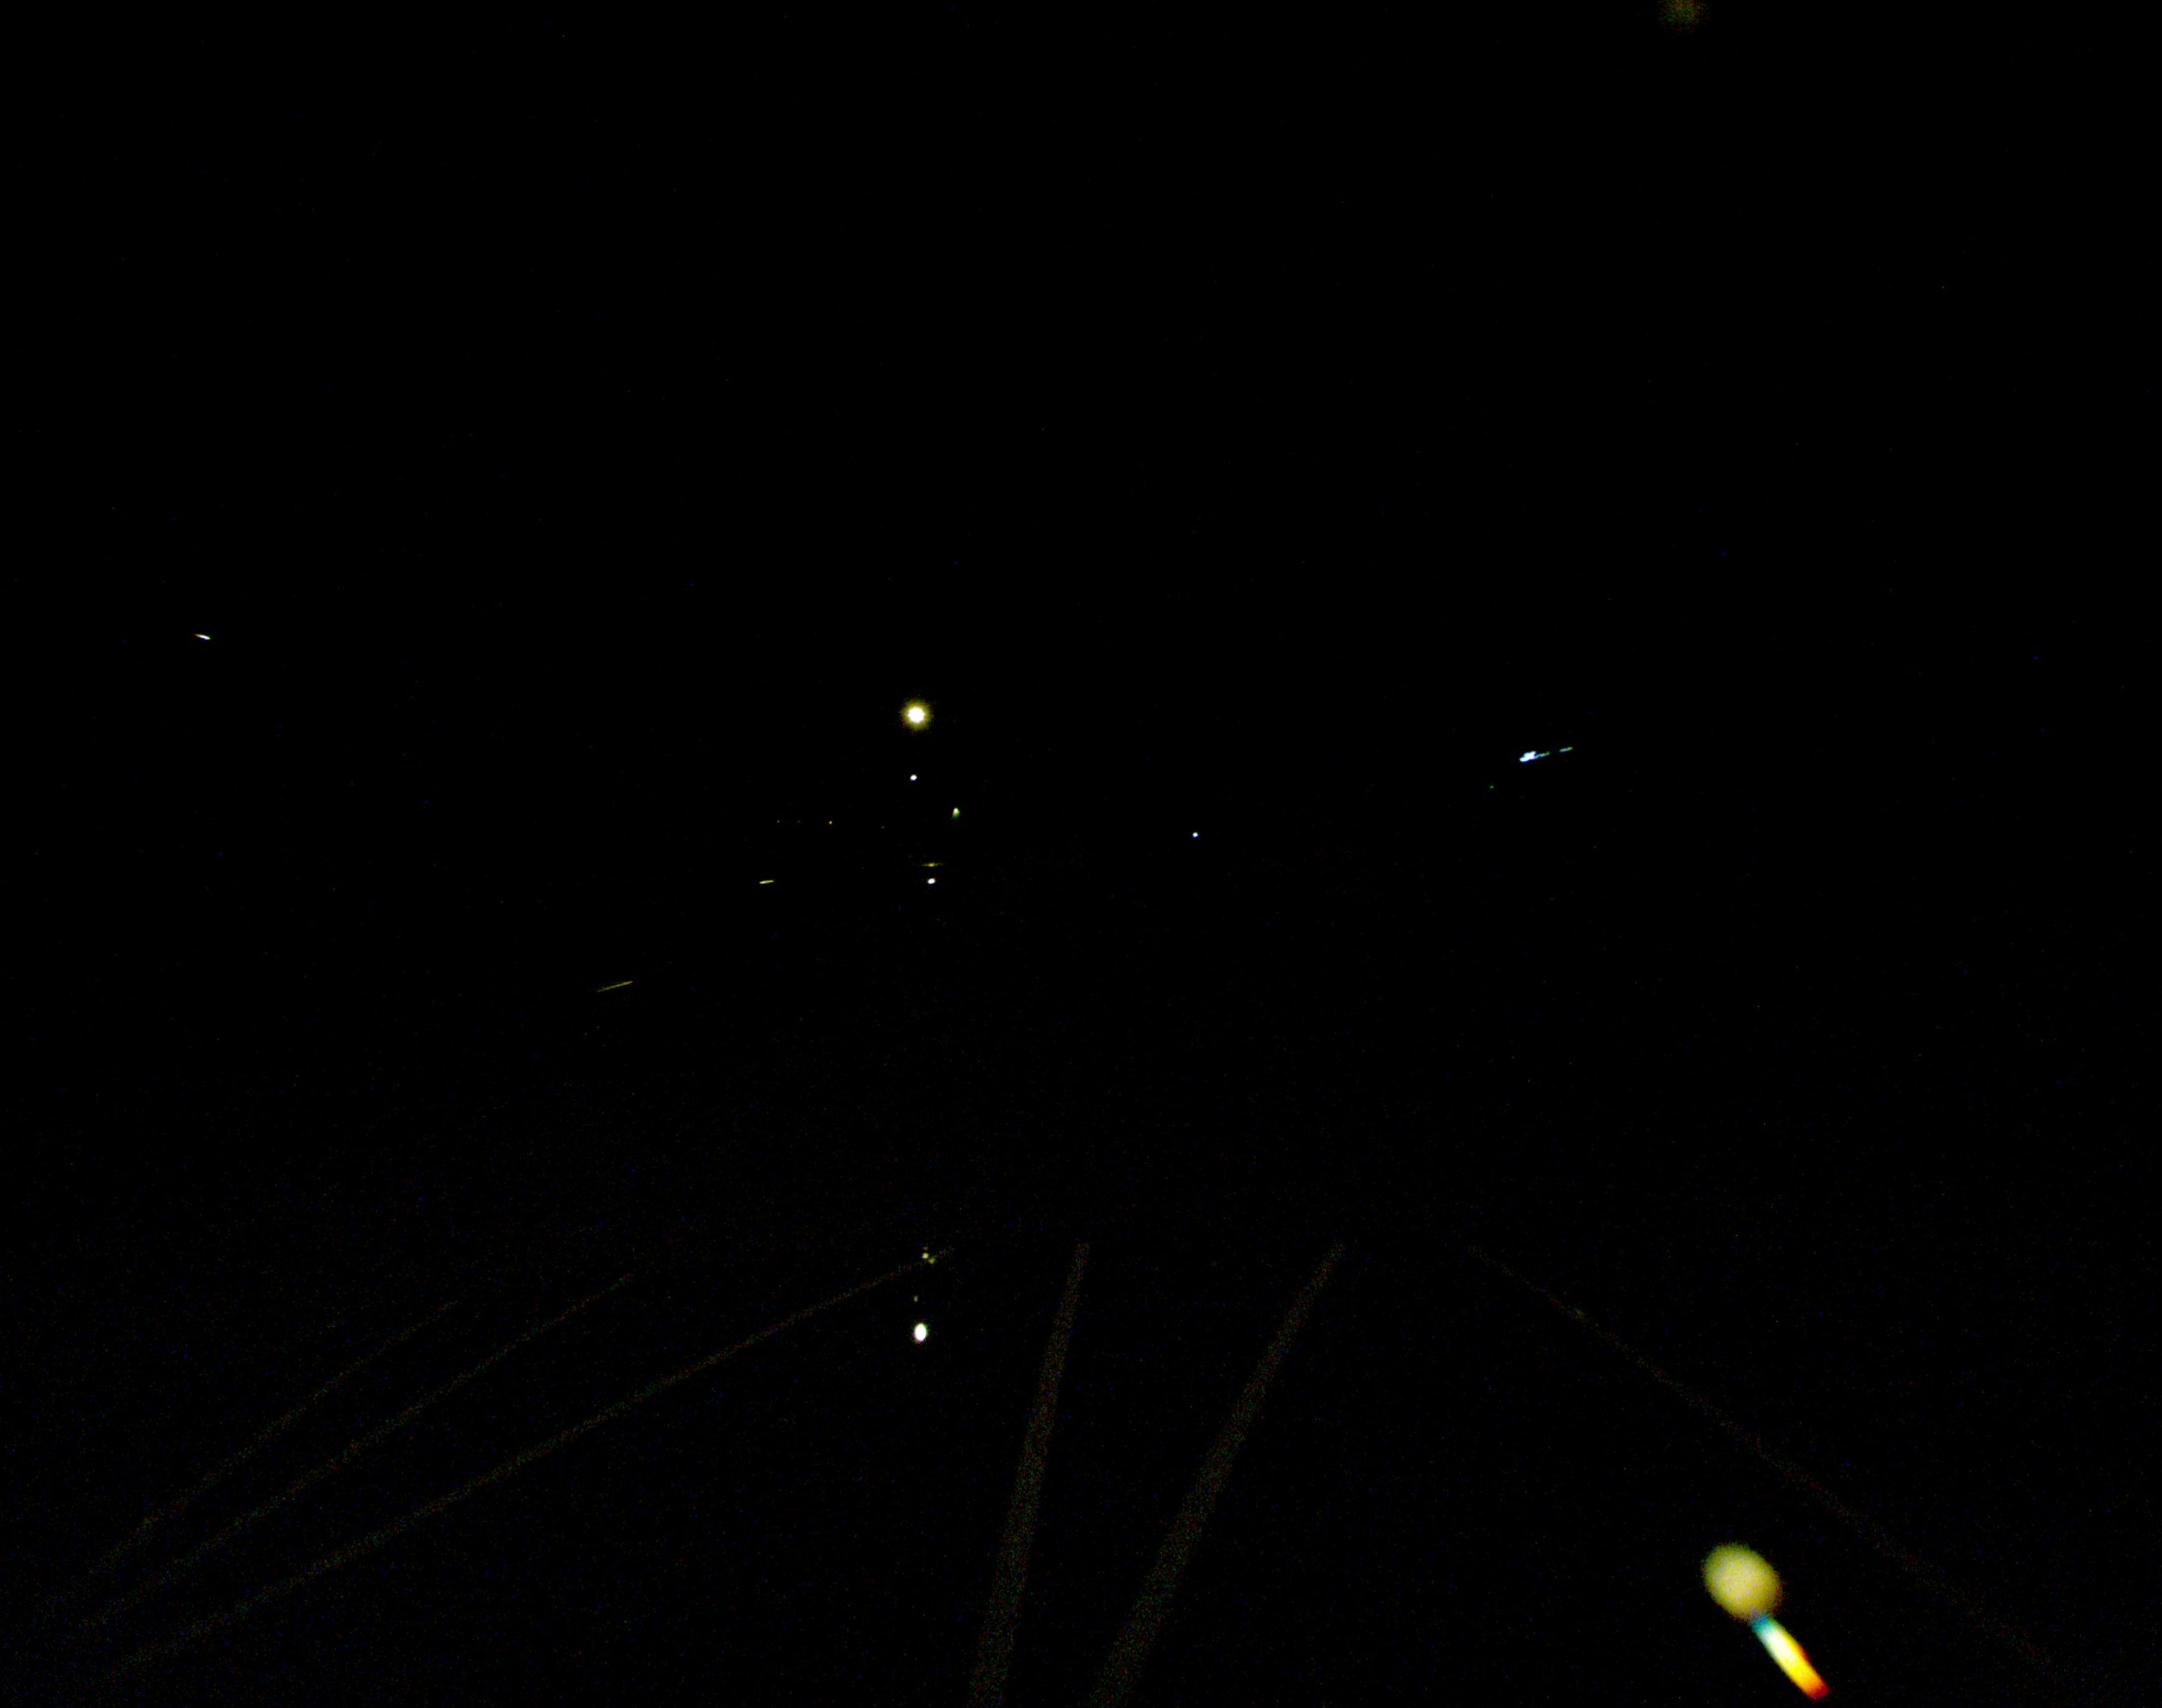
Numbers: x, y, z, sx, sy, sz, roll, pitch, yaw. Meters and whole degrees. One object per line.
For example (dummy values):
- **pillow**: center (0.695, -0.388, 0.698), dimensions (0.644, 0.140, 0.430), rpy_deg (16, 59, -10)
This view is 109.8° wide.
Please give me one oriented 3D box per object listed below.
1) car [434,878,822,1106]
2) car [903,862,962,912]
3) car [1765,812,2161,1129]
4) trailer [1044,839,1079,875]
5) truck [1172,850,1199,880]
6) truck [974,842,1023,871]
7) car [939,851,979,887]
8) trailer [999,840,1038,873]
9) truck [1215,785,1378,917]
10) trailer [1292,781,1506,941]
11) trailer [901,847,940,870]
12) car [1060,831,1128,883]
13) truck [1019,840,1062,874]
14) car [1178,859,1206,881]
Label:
- **car**: center (-4.052, 1.091, 7.688), dimensions (1.715, 1.499, 3.998), rpy_deg (-2, 0, -4)
- **car**: center (-5.102, 1.088, 26.481), dimensions (1.613, 1.503, 3.823), rpy_deg (-4, 0, -7)
- **car**: center (6.989, 0.628, 4.208), dimensions (1.999, 1.761, 4.690), rpy_deg (-1, 0, -4)
- **trailer**: center (-1.575, 0.261, 59.572), dimensions (2.004, 2.749, 3.996), rpy_deg (1, 0, -12)
- **truck**: center (9.328, 0.953, 68.341), dimensions (2.137, 2.597, 7.102), rpy_deg (0, 0, 5)
- **truck**: center (-9.338, 0.257, 85.041), dimensions (2.755, 3.047, 9.319), rpy_deg (-1, 0, -23)
- **car**: center (-7.536, 0.895, 46.555), dimensions (2.000, 2.002, 5.349), rpy_deg (-3, 0, -12)
- **trailer**: center (-6.236, 0.300, 74.821), dimensions (2.492, 3.055, 7.944), rpy_deg (-1, 0, -15)
- **truck**: center (6.010, -0.077, 22.523), dimensions (2.380, 3.224, 7.229), rpy_deg (-1, 0, -3)
- **trailer**: center (6.281, 0.115, 15.744), dimensions (2.211, 2.779, 4.614), rpy_deg (-1, 0, -4)
- **trailer**: center (-14.681, 0.430, 69.308), dimensions (1.498, 2.002, 4.972), rpy_deg (-1, 0, -38)
- **car**: center (0.748, 0.185, 51.521), dimensions (2.391, 3.224, 7.221), rpy_deg (-1, 0, -17)
- **truck**: center (-3.578, 0.285, 66.060), dimensions (2.001, 2.767, 7.233), rpy_deg (-1, 0, -17)
- **car**: center (8.717, 1.257, 59.970), dimensions (1.861, 1.630, 4.001), rpy_deg (0, 0, 4)
